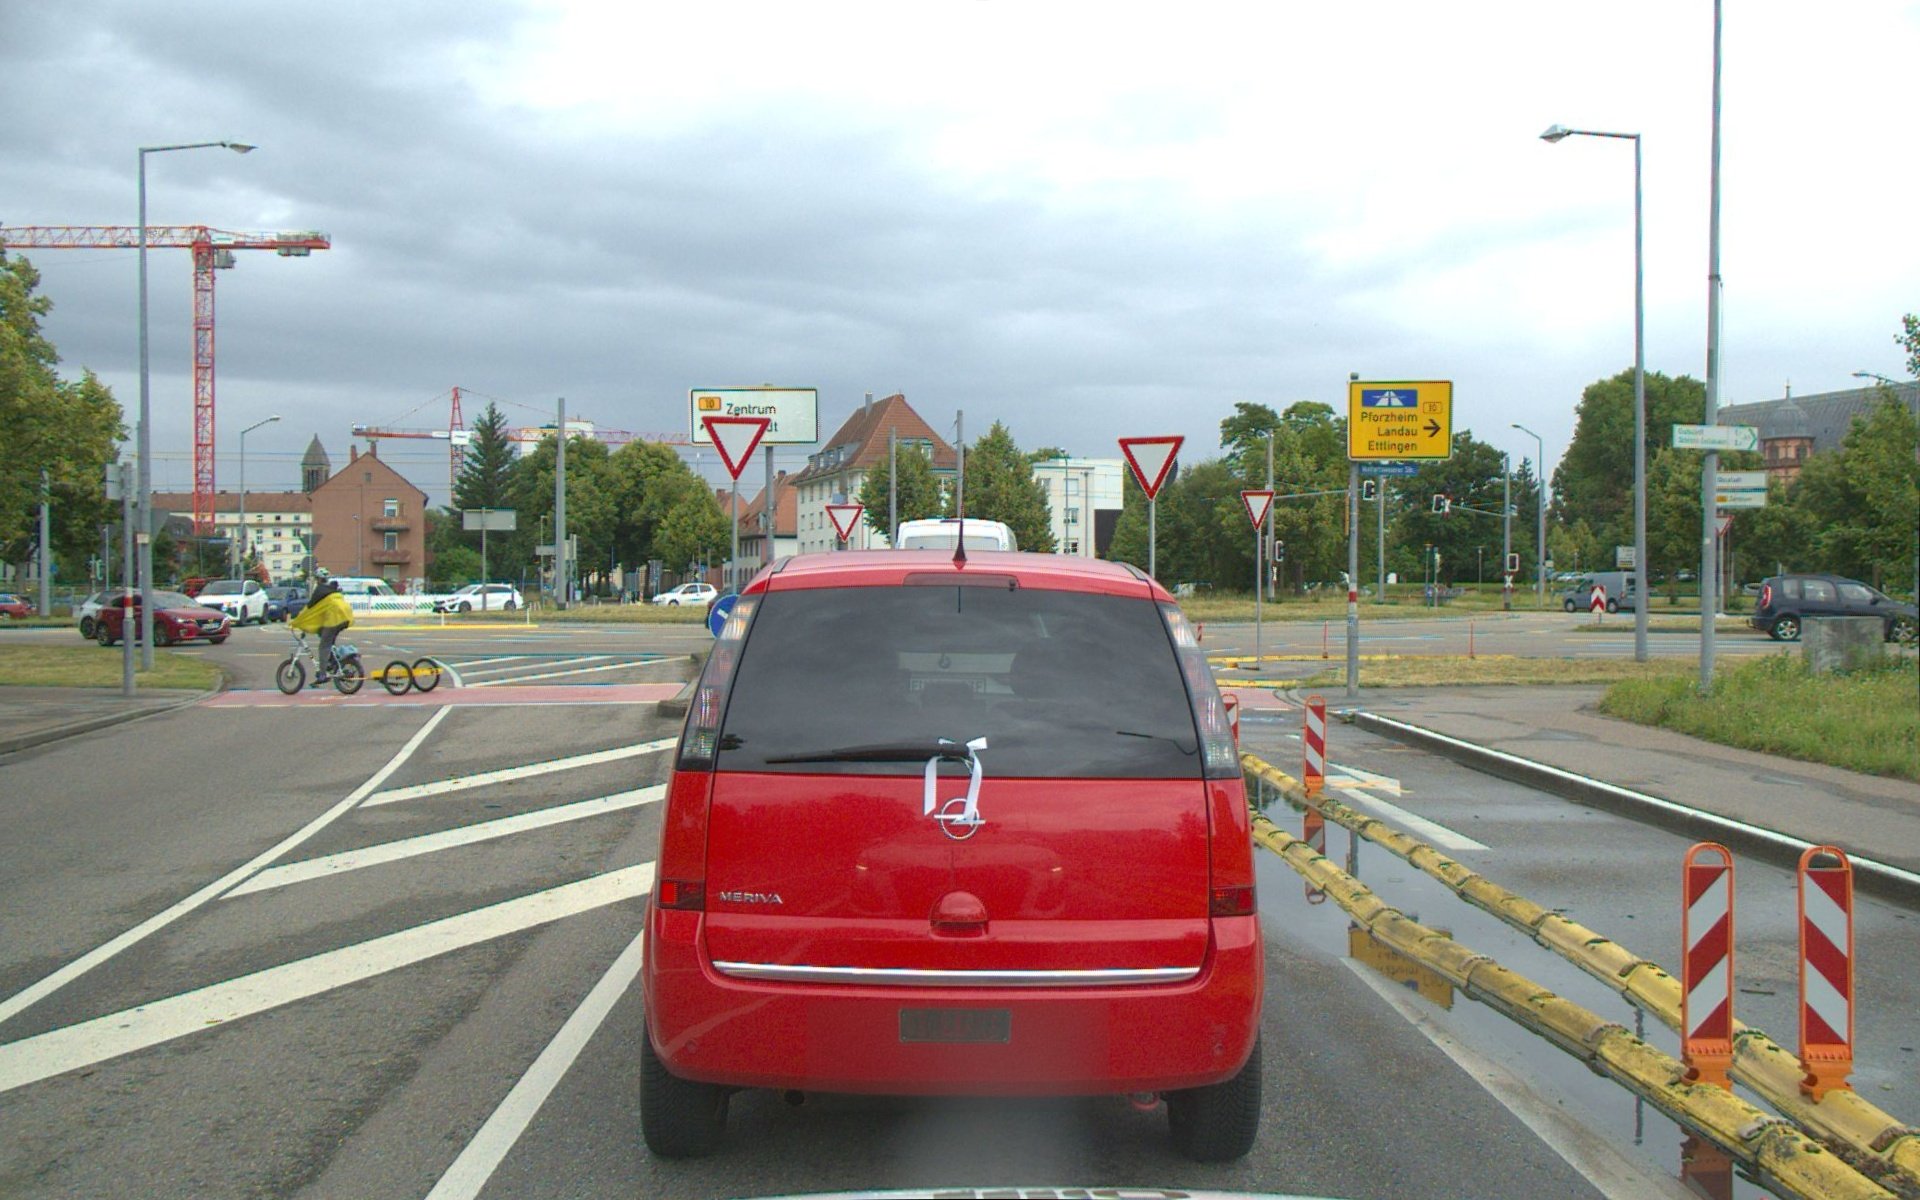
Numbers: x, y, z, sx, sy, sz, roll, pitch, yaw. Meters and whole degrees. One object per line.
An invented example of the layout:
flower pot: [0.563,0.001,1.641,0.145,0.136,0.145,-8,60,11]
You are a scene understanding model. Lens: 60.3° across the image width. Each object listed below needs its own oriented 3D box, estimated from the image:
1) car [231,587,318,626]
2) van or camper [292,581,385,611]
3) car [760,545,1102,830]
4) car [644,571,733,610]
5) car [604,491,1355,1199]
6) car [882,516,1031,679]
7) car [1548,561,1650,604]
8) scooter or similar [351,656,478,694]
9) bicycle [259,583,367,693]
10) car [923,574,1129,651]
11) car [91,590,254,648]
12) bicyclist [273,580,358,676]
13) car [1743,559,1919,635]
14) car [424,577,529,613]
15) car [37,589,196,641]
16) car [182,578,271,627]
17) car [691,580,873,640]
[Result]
car: [-27.803,0.235,67.234,1.891,1.515,4.000,-1,1,-1]
van or camper: [-44.873,-0.294,119.480,6.045,2.049,2.002,0,0,10]
car: [-0.209,0.501,12.166,2.018,1.676,4.606,1,1,-1]
car: [-14.782,-0.541,90.100,4.424,2.049,1.978,-1,1,-33]
car: [0.018,0.588,5.470,1.639,1.669,3.627,1,1,-1]
car: [0.047,-0.065,28.967,2.149,2.584,4.965,1,1,5]
car: [30.867,-0.842,80.014,1.972,2.049,4.435,-1,1,-29]
scooter or similar: [-8.186,1.126,24.868,1.574,0.513,0.925,0,1,2]
bicycle: [-9.820,0.570,25.111,1.446,1.640,0.606,0,0,15]
car: [1.454,0.254,36.620,4.423,1.610,2.001,-1,0,2]
car: [-21.570,0.493,45.291,4.263,1.489,1.996,0,1,31]
bicyclist: [-9.769,0.420,25.079,1.039,1.426,0.615,0,0,16]
car: [22.106,-0.074,41.557,4.106,1.845,2.079,0,0,17]
car: [-23.433,-0.245,80.279,1.961,1.663,4.655,0,1,38]
car: [-25.939,0.457,50.921,3.902,1.534,2.002,0,0,7]
car: [-26.861,0.072,60.709,1.895,1.713,4.181,-1,1,-9]
car: [-4.573,0.253,42.685,4.217,1.489,2.001,0,1,17]
